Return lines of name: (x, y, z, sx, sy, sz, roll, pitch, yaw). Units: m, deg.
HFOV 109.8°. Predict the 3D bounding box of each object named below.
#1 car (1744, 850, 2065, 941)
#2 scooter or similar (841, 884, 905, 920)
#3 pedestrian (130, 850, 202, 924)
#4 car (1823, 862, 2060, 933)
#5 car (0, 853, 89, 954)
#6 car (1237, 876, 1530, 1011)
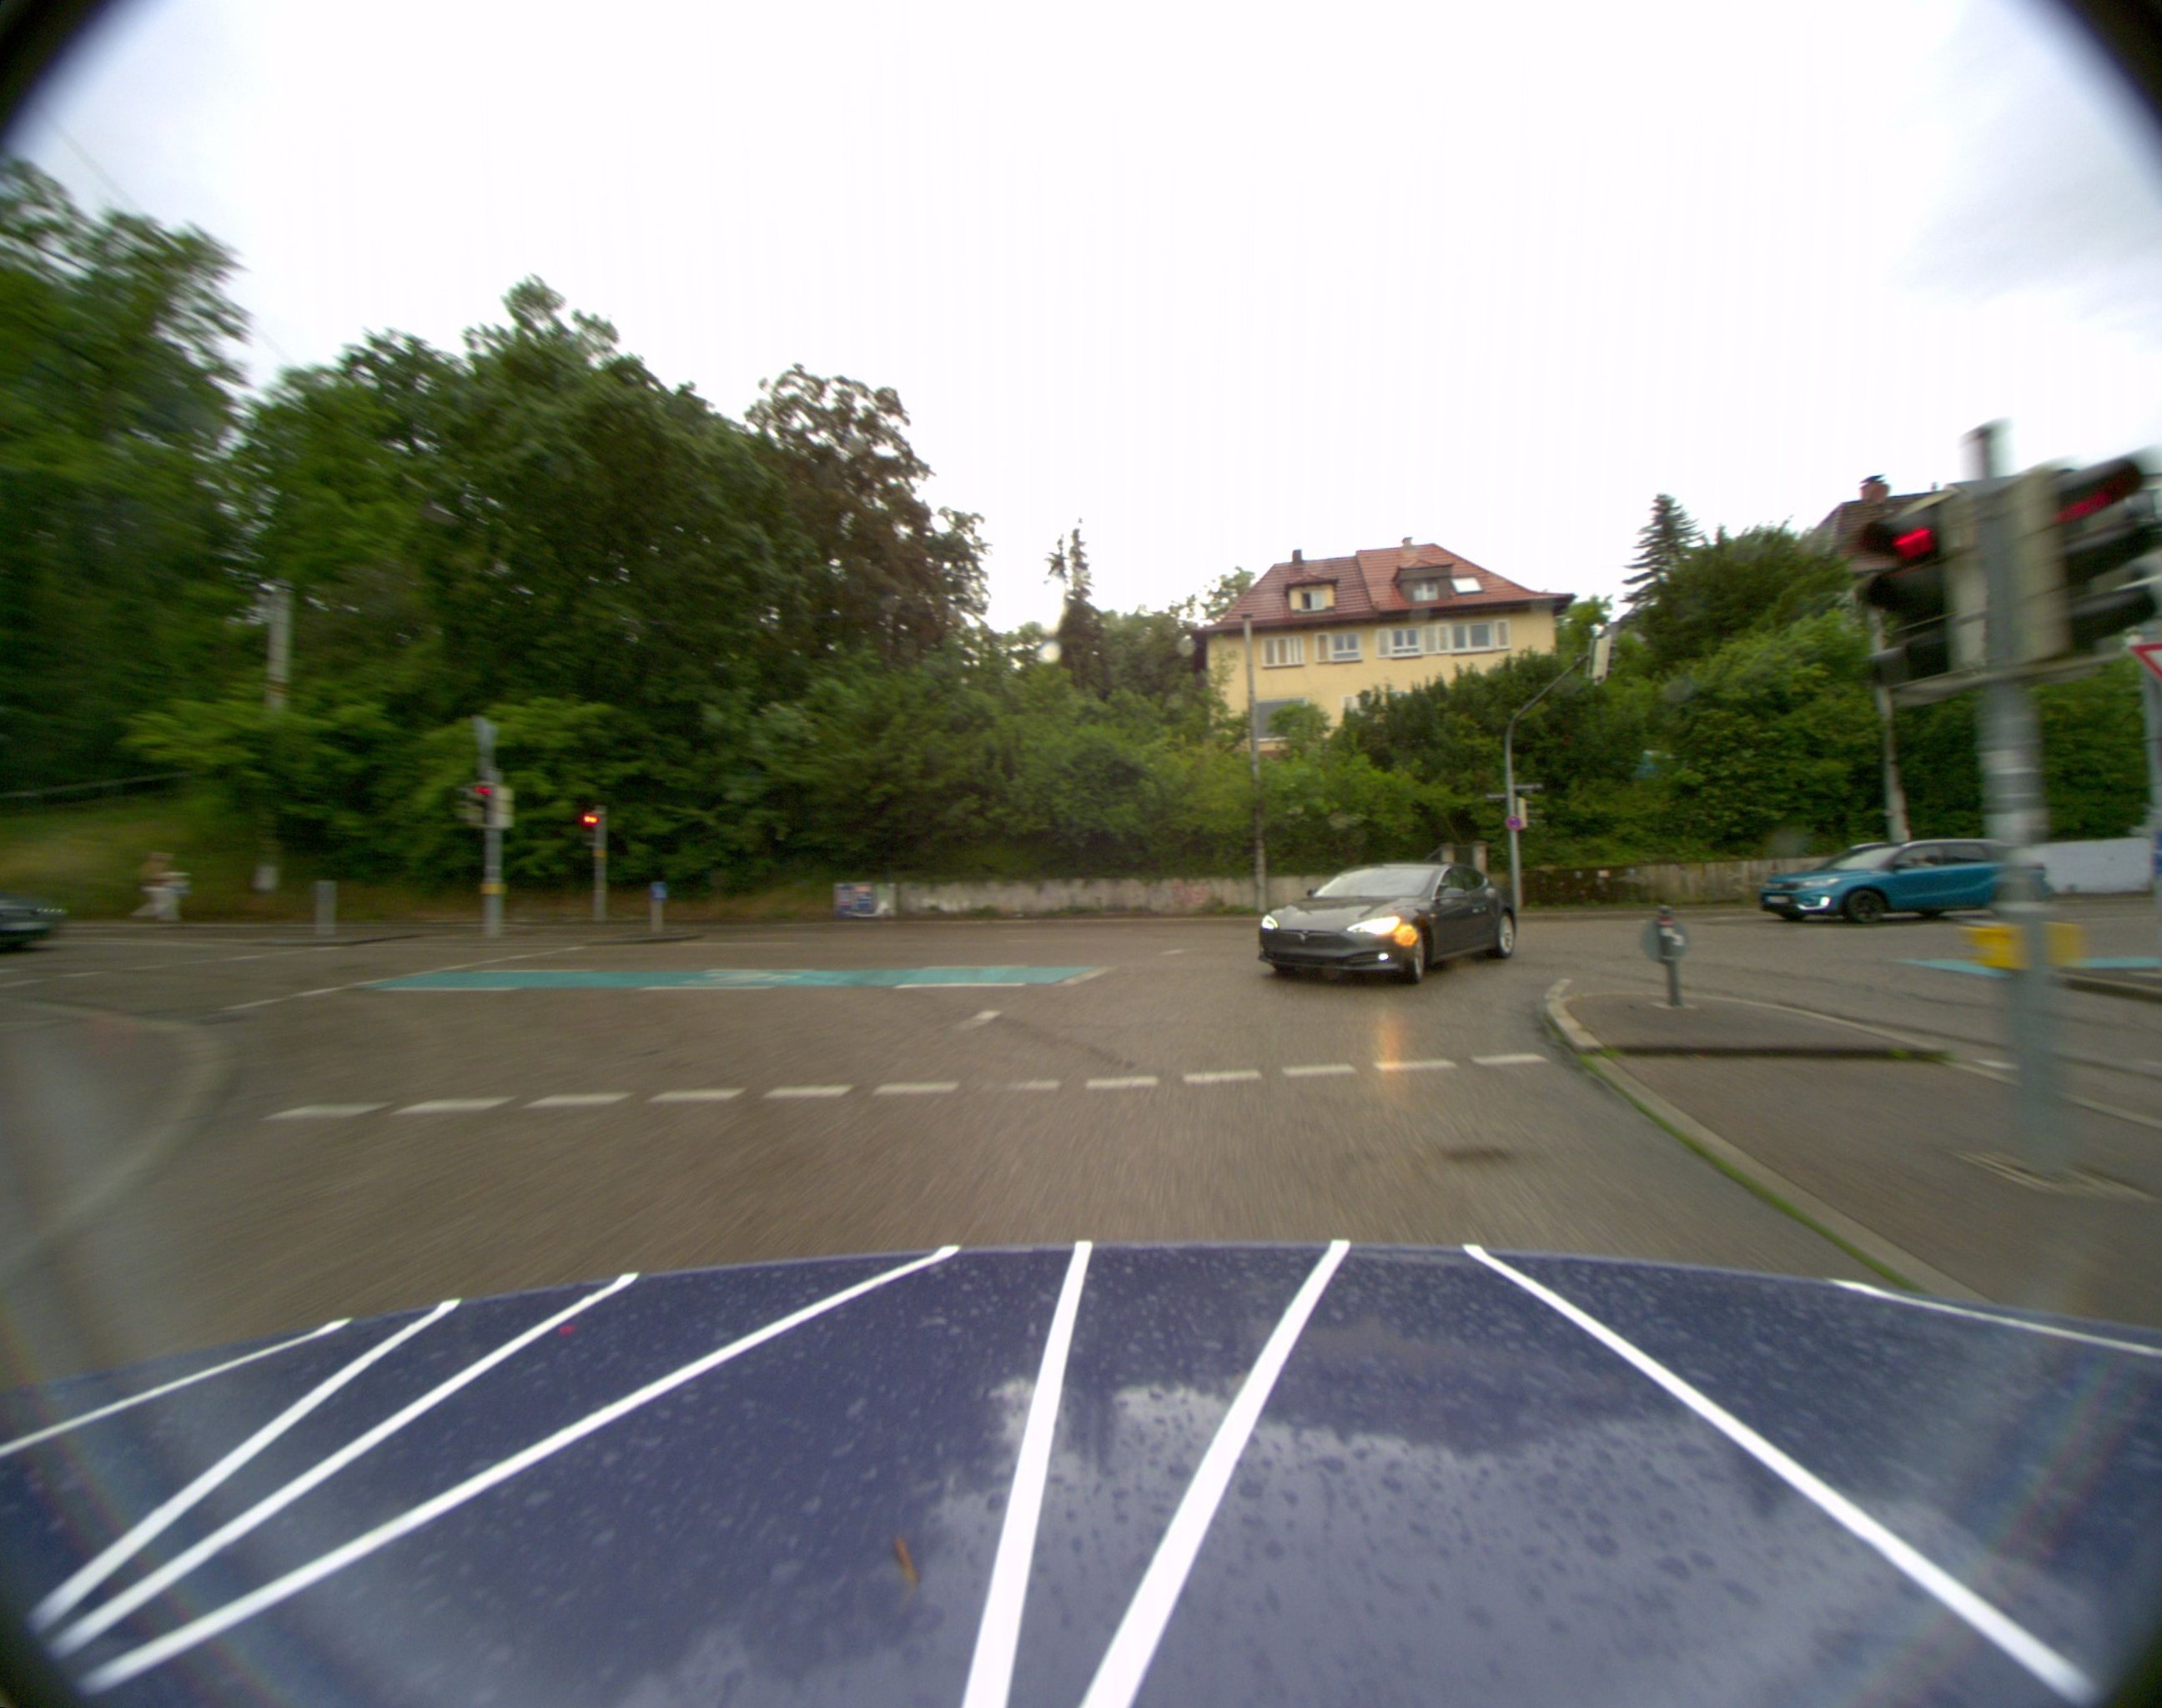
car: (16.187, 0.834, 15.166, 4.035, 1.600, 1.804, -2, -2, 9)
scooter or similar: (-6.331, 1.465, 23.156, 1.767, 1.068, 0.604, 0, -2, 4)
pedestrian: (-22.330, 0.807, 18.563, 0.800, 1.741, 0.648, 2, -3, -16)
car: (20.277, 1.033, 18.062, 3.360, 1.442, 1.555, -4, -3, 13)
car: (-18.660, 0.710, 11.316, 4.692, 1.512, 1.888, 1, -1, -9)
car: (4.181, 1.005, 10.157, 4.333, 1.383, 1.831, 1, -1, -41)
